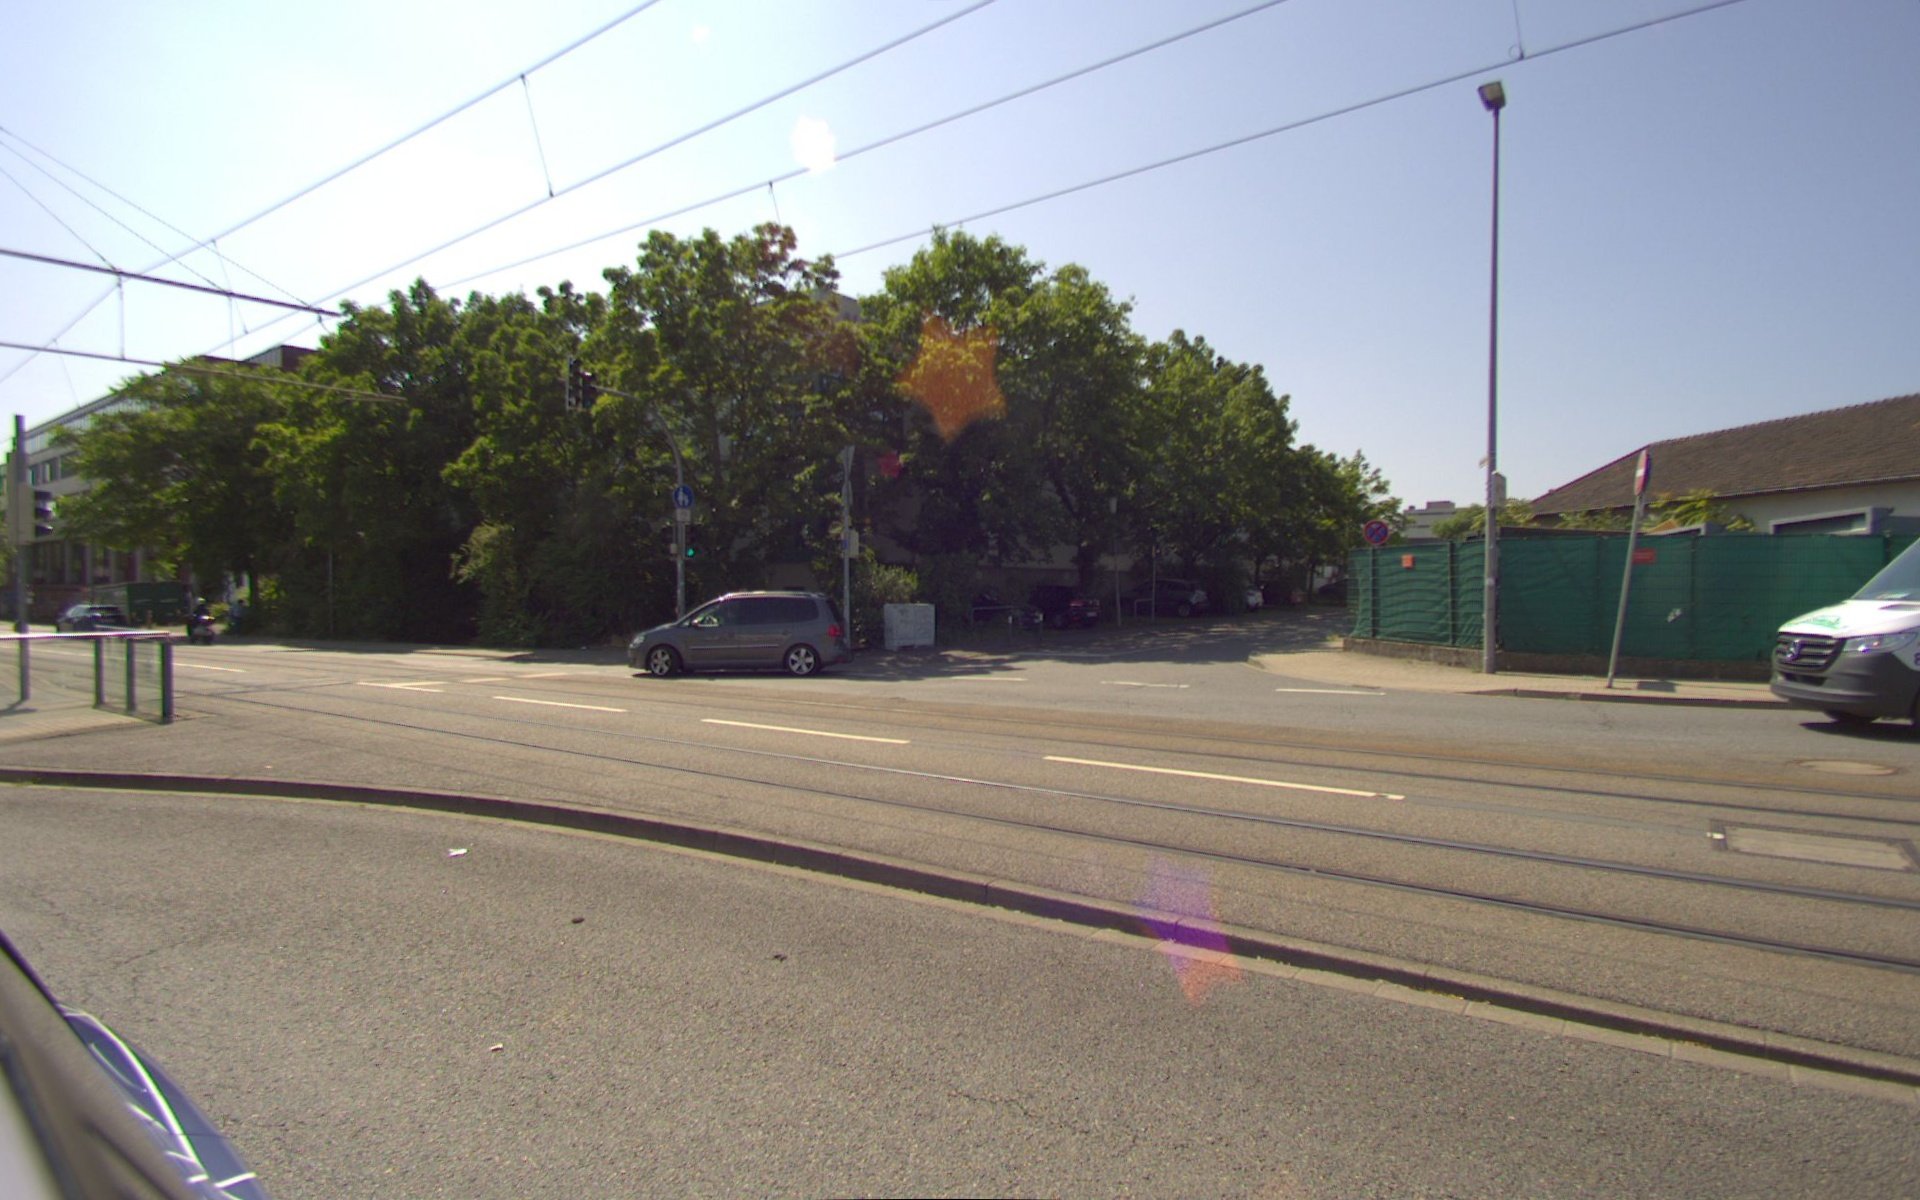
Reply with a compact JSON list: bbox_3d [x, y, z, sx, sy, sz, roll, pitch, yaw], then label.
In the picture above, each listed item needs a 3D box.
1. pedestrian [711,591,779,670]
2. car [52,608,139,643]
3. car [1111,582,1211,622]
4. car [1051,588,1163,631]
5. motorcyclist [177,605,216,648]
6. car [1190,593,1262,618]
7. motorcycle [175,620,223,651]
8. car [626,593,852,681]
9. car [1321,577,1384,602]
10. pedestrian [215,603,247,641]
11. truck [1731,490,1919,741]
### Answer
[{"bbox_3d":[-4.876,0.674,22.973,1.158,1.682,0.878,-1,4,36],"label":"pedestrian"},{"bbox_3d":[-37.476,1.100,43.851,4.587,1.453,1.889,-1,-2,37],"label":"car"},{"bbox_3d":[8.527,0.094,42.981,3.853,1.650,1.608,-1,0,32],"label":"car"},{"bbox_3d":[5.278,0.328,36.208,3.829,1.478,1.619,-1,0,14],"label":"car"},{"bbox_3d":[-26.865,0.920,35.610,0.961,1.486,0.828,-1,0,36],"label":"motorcyclist"},{"bbox_3d":[12.528,0.246,47.701,3.112,1.133,1.198,-1,0,32],"label":"car"},{"bbox_3d":[-26.722,1.238,35.514,1.960,1.019,0.815,-1,0,37],"label":"motorcycle"},{"bbox_3d":[-4.259,0.720,20.060,4.129,1.595,1.935,1,-1,-4],"label":"car"},{"bbox_3d":[26.396,-0.719,68.083,3.688,1.619,1.555,-1,0,36],"label":"car"},{"bbox_3d":[-30.329,0.901,42.120,0.844,1.538,0.863,-1,0,36],"label":"pedestrian"},{"bbox_3d":[11.770,0.115,9.877,6.330,2.355,2.199,-1,0,15],"label":"truck"}]
